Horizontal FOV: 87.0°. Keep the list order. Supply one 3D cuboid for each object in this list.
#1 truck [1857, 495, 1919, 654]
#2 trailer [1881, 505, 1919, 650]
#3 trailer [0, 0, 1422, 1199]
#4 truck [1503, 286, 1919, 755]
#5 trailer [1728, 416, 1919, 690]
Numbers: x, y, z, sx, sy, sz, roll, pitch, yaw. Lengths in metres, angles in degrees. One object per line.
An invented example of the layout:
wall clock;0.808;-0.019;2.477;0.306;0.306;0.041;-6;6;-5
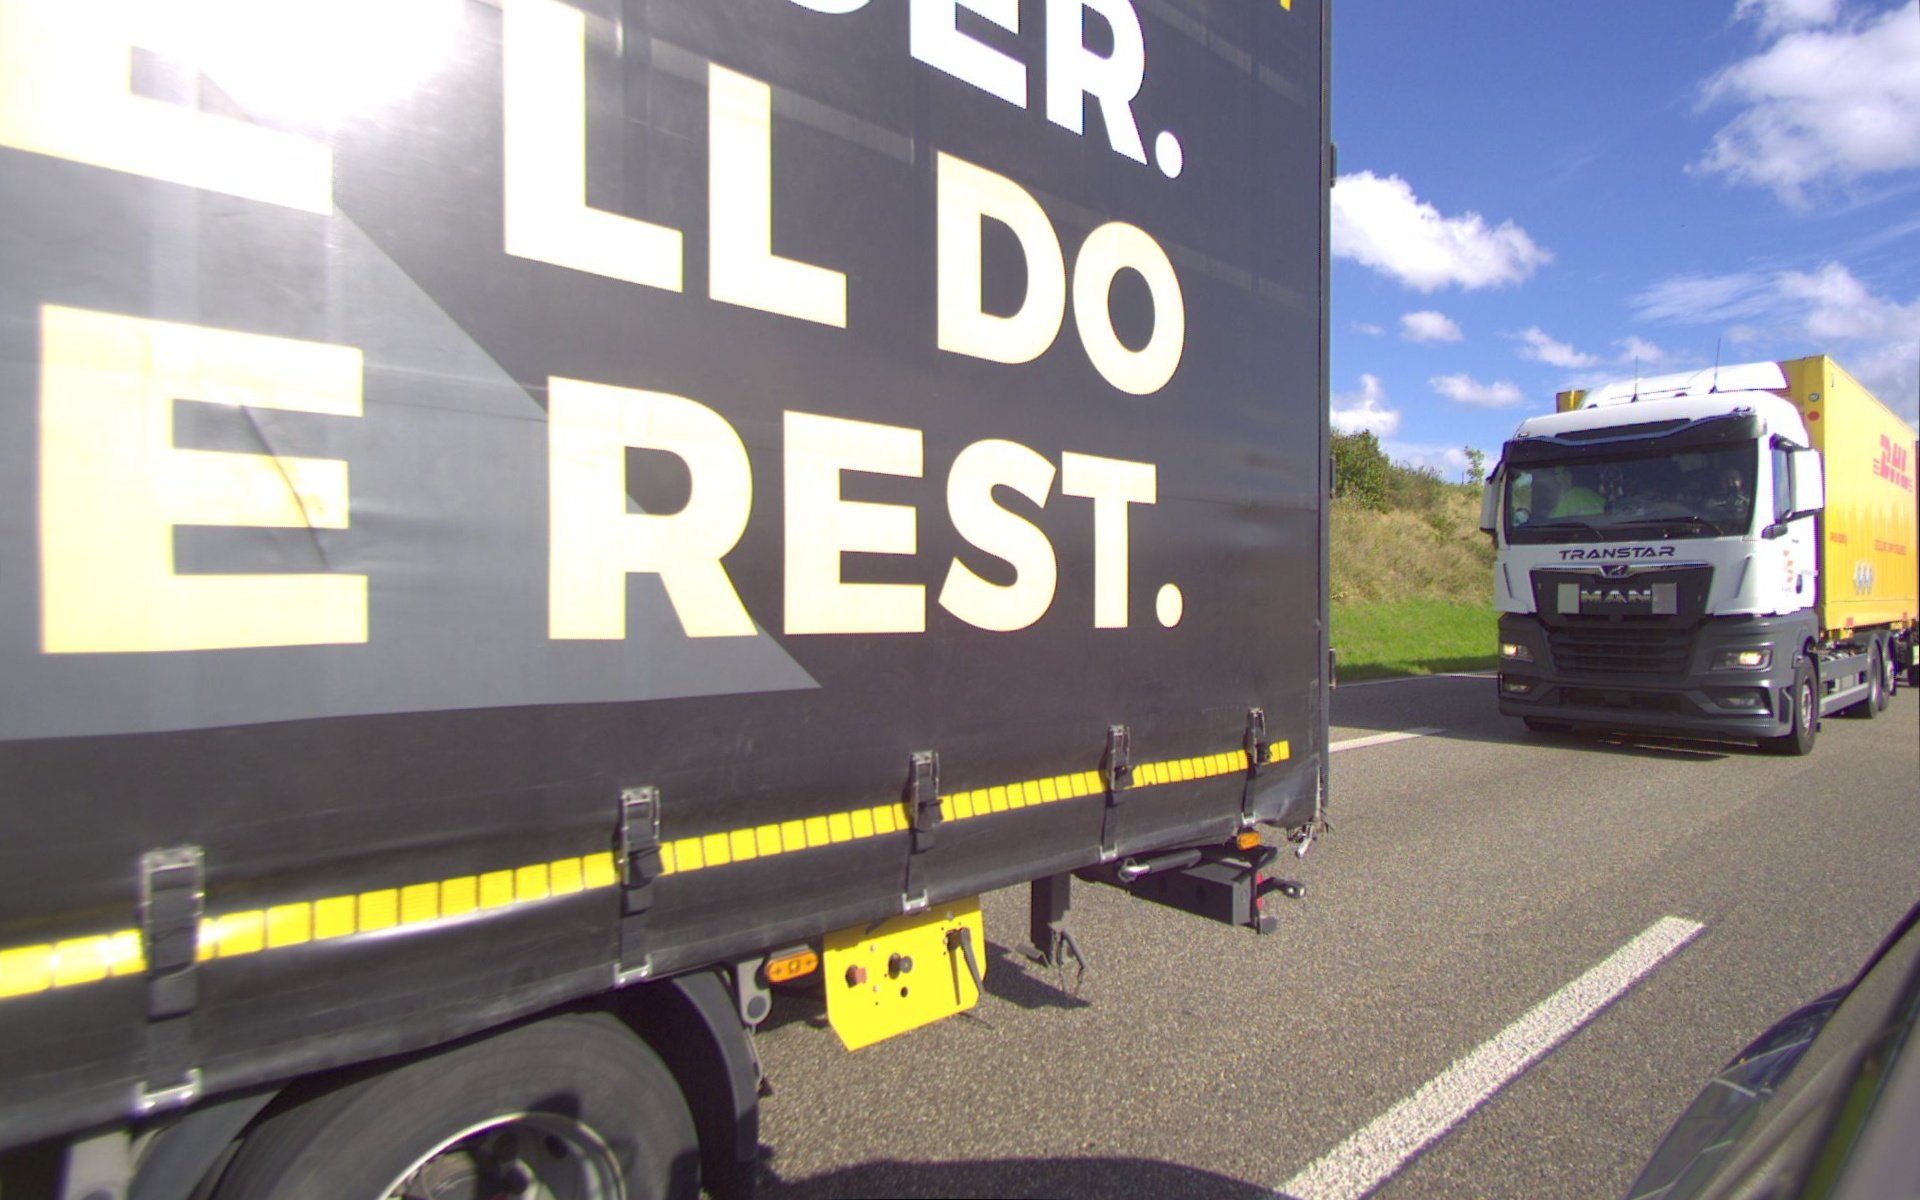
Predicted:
truck;27.524;-0.696;28.309;6.376;4.142;2.653;0;-1;-40
trailer;33.049;-0.712;32.905;13.731;4.150;2.647;-1;-1;-40
trailer;-2.614;-0.628;1.501;8.558;4.011;2.720;0;0;-41
truck;10.146;-0.694;12.914;9.495;4.121;2.415;0;-1;-41
trailer;17.014;-0.695;18.934;8.770;4.121;2.415;0;-1;-41
